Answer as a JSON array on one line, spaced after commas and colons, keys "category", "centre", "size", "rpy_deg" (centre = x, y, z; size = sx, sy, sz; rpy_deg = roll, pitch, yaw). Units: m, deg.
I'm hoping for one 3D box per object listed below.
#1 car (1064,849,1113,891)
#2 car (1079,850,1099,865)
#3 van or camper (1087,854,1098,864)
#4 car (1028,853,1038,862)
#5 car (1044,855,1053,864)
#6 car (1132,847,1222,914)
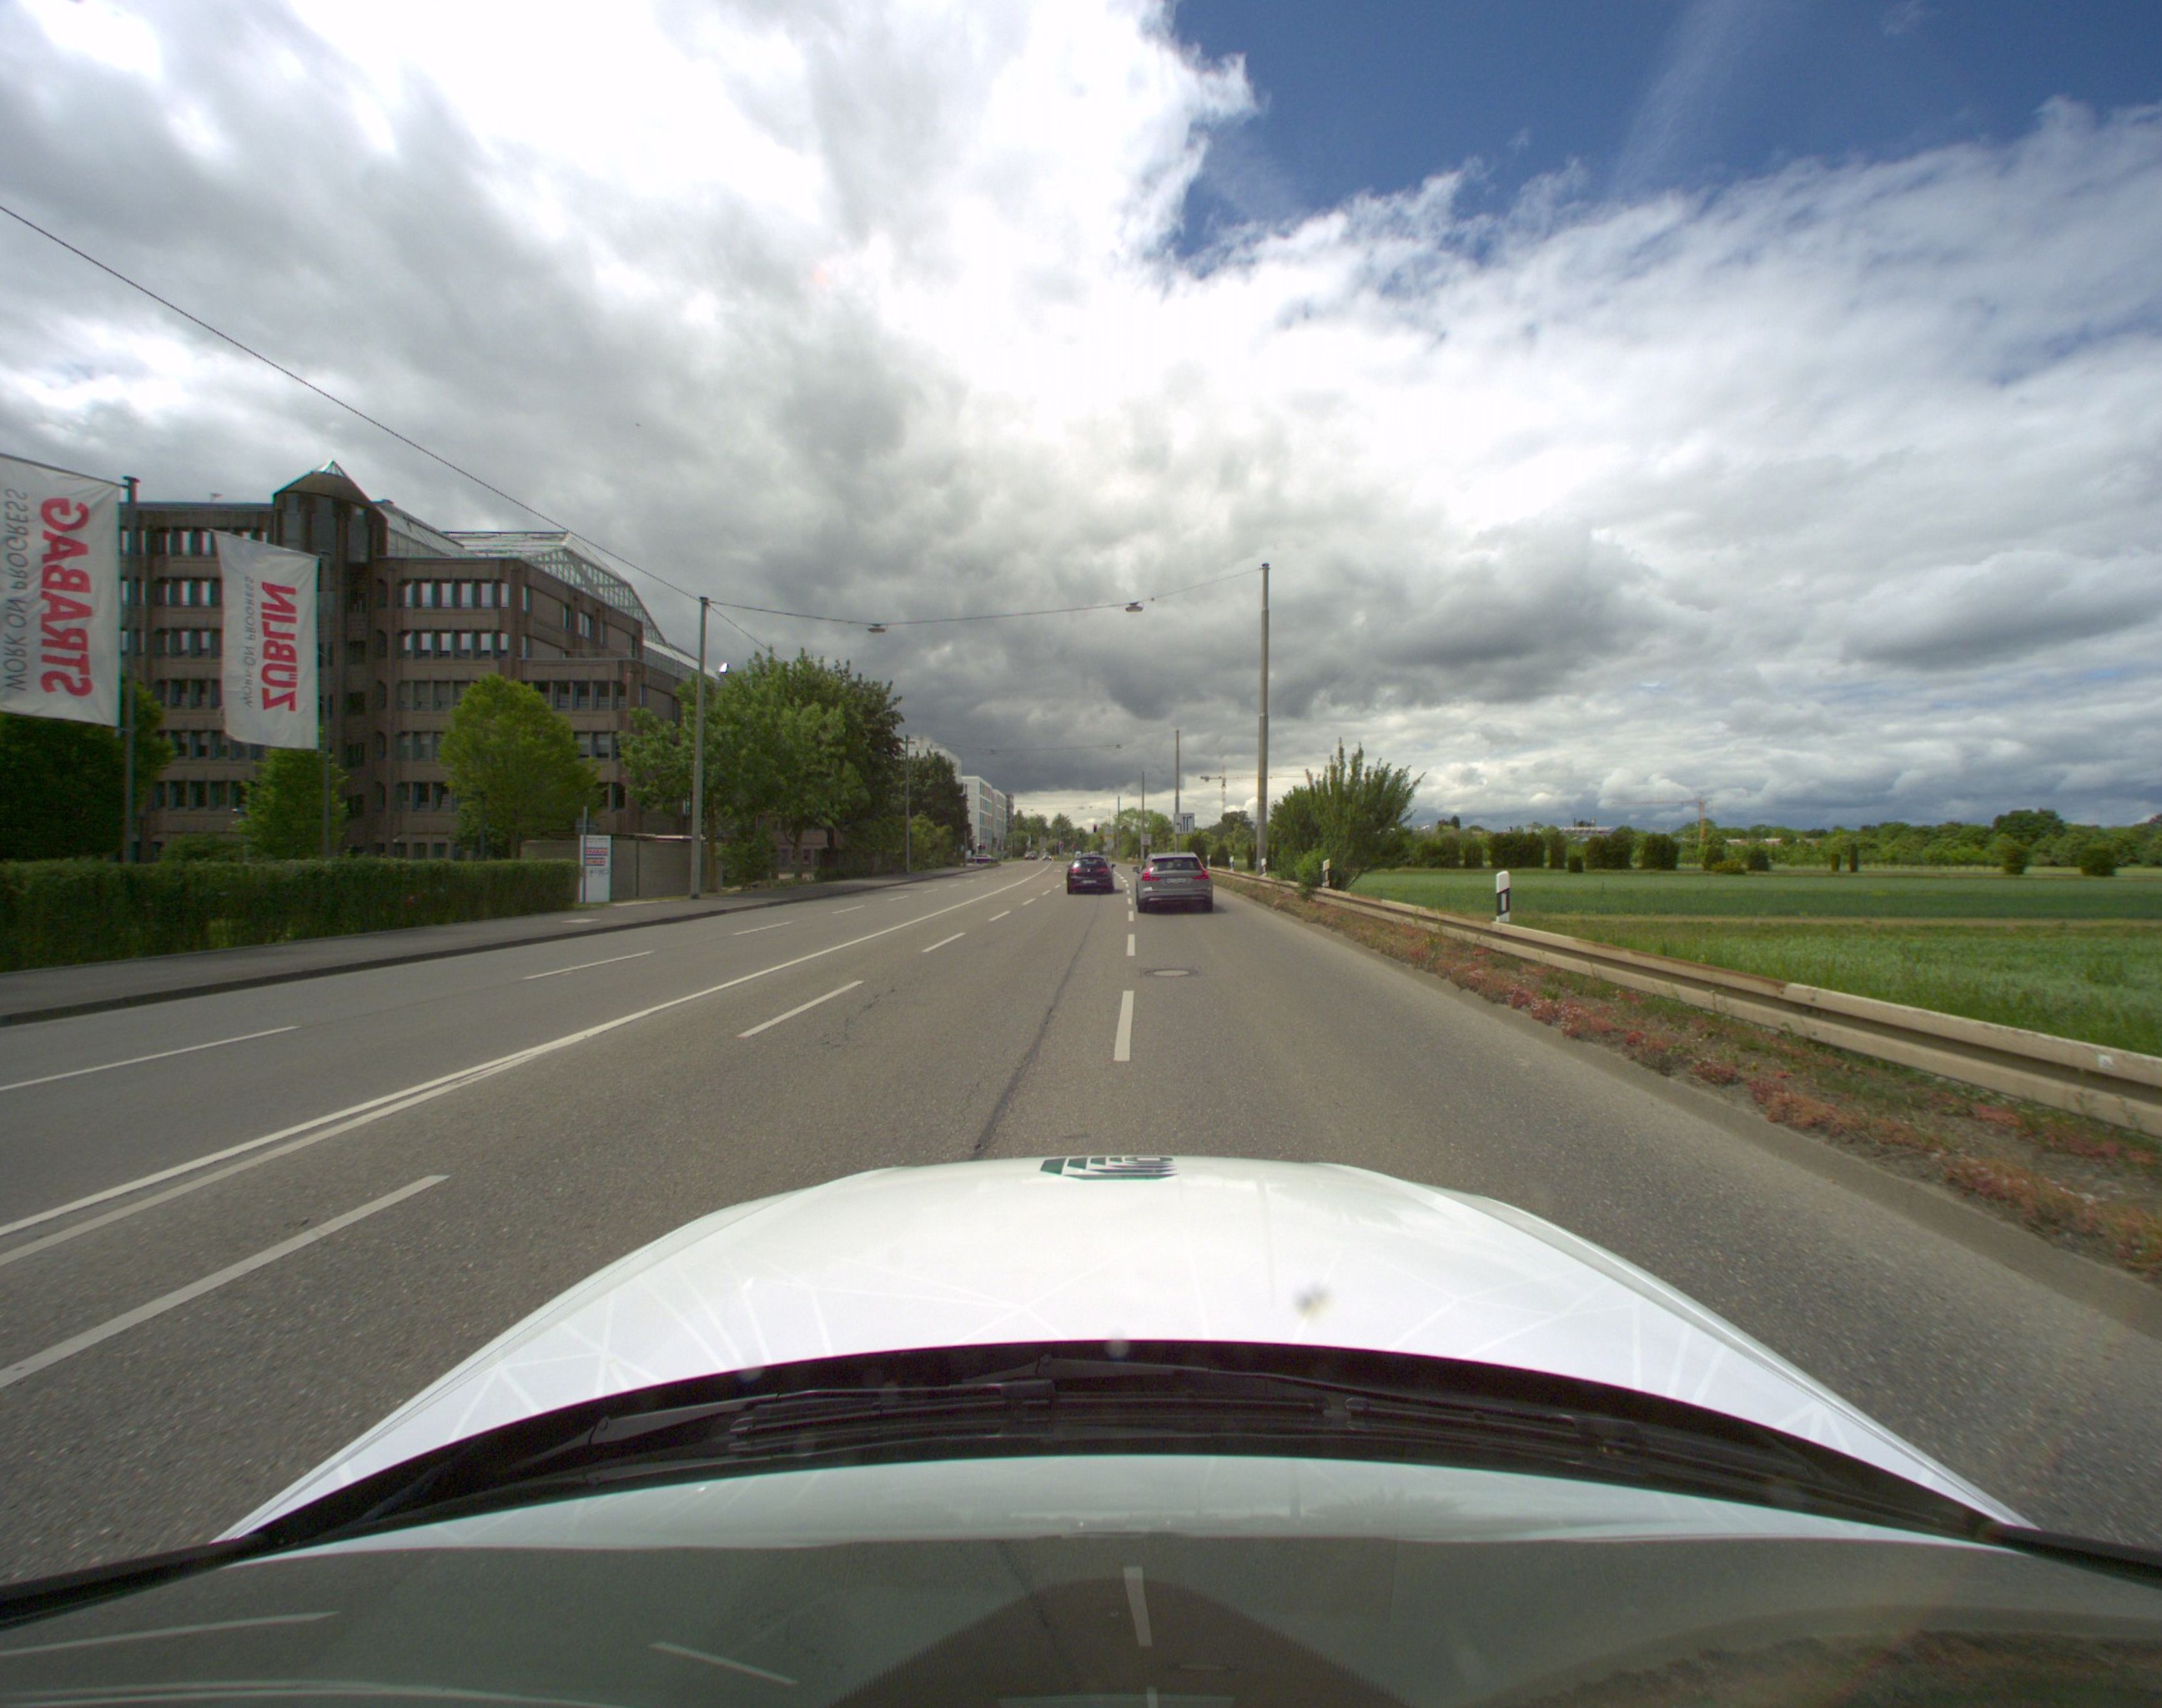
[{"category": "car", "centre": [0.346, 0.591, 31.523], "size": [1.741, 1.484, 4.001], "rpy_deg": [1, 0, 2]}, {"category": "car", "centre": [0.871, 0.397, 91.001], "size": [1.978, 1.590, 4.223], "rpy_deg": [0, 1, -2]}, {"category": "van or camper", "centre": [2.304, 1.121, 169.890], "size": [1.896, 1.926, 3.993], "rpy_deg": [3, -2, -5]}, {"category": "car", "centre": [-9.487, 0.670, 160.288], "size": [1.746, 1.631, 3.997], "rpy_deg": [-2, 0, -2]}, {"category": "car", "centre": [-6.326, 1.081, 158.422], "size": [1.664, 1.524, 4.005], "rpy_deg": [-2, 1, -2]}, {"category": "car", "centre": [2.385, 0.645, 21.318], "size": [1.951, 1.525, 4.341], "rpy_deg": [-2, -1, 2]}]
